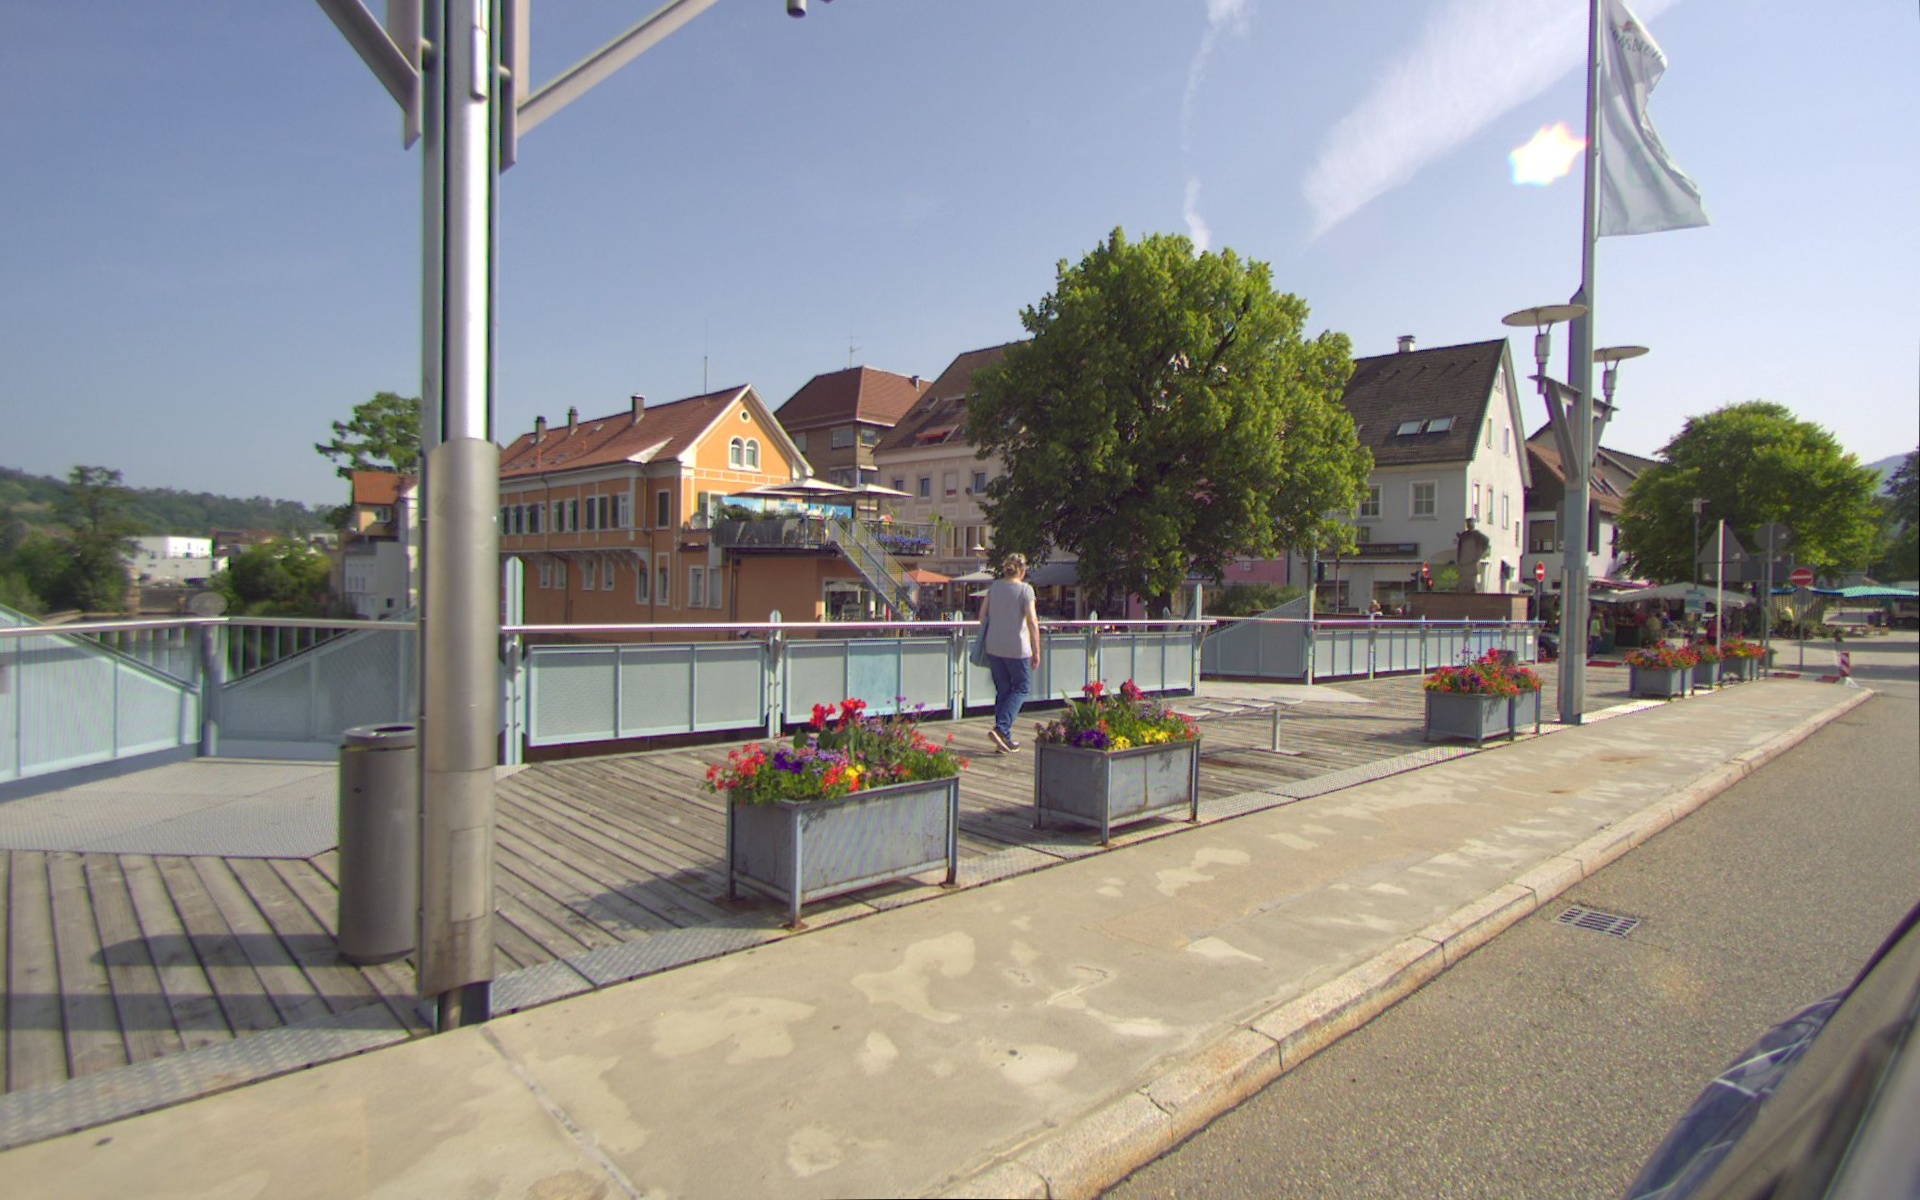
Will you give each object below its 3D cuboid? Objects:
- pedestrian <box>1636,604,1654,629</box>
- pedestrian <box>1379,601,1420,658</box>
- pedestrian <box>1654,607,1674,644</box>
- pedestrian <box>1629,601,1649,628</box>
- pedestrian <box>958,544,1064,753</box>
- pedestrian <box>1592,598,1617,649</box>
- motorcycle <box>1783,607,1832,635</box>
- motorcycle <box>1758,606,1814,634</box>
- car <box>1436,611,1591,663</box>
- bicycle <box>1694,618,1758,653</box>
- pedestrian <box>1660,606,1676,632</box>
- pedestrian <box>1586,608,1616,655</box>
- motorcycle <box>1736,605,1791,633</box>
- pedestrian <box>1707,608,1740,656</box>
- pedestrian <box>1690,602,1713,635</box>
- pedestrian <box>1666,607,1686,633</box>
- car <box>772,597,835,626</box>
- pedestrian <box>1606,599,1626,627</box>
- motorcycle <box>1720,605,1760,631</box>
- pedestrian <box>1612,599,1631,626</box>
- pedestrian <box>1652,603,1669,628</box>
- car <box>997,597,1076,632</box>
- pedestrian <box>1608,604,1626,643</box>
[{"bbox_3d":[34.786,0.814,51.413,0.640,1.215,0.571,-1,3,-44],"label":"pedestrian"},{"bbox_3d":[14.826,0.980,34.178,0.891,1.838,1.020,2,-1,3],"label":"pedestrian"},{"bbox_3d":[30.101,1.089,43.289,0.617,1.537,0.626,1,0,30],"label":"pedestrian"},{"bbox_3d":[35.284,0.738,52.604,0.687,1.347,0.626,0,3,-42],"label":"pedestrian"},{"bbox_3d":[0.423,0.374,8.337,0.664,1.639,0.556,1,0,37],"label":"pedestrian"},{"bbox_3d":[26.003,0.928,40.836,0.700,2.010,0.647,1,0,24],"label":"pedestrian"},{"bbox_3d":[42.450,1.049,50.718,0.631,1.210,2.008,2,3,-3],"label":"motorcycle"},{"bbox_3d":[41.299,0.997,50.614,0.631,1.210,2.008,1,3,-31],"label":"motorcycle"},{"bbox_3d":[19.299,1.240,35.423,4.483,1.585,1.797,1,2,43],"label":"car"},{"bbox_3d":[28.891,1.334,38.195,1.848,1.250,0.610,1,0,33],"label":"bicycle"},{"bbox_3d":[35.226,0.947,50.357,0.568,1.215,0.643,4,3,35],"label":"pedestrian"},{"bbox_3d":[23.485,1.152,37.080,0.850,1.652,0.781,0,2,26],"label":"pedestrian"},{"bbox_3d":[40.241,0.940,50.707,0.631,1.210,2.008,0,4,-31],"label":"motorcycle"},{"bbox_3d":[28.196,1.179,37.383,0.879,1.678,0.565,4,3,37],"label":"pedestrian"},{"bbox_3d":[36.163,0.892,49.354,0.562,1.572,0.699,0,3,-39],"label":"pedestrian"},{"bbox_3d":[34.990,0.962,49.474,0.694,1.215,0.566,3,3,32],"label":"pedestrian"},{"bbox_3d":[-9.319,0.655,60.013,1.657,1.578,4.092,0,1,-44],"label":"car"},{"bbox_3d":[33.832,0.661,52.213,0.687,1.347,0.626,0,3,-42],"label":"pedestrian"},{"bbox_3d":[40.277,0.920,52.261,0.633,1.210,1.529,0,3,-45],"label":"motorcycle"},{"bbox_3d":[34.436,0.634,52.702,0.687,1.347,0.626,0,3,-42],"label":"pedestrian"},{"bbox_3d":[36.490,0.797,52.691,0.640,1.215,0.571,-1,3,-44],"label":"pedestrian"},{"bbox_3d":[4.122,0.756,54.696,4.131,1.761,1.686,1,2,43],"label":"car"},{"bbox_3d":[27.981,1.002,43.079,0.520,1.647,0.697,1,0,41],"label":"pedestrian"}]
